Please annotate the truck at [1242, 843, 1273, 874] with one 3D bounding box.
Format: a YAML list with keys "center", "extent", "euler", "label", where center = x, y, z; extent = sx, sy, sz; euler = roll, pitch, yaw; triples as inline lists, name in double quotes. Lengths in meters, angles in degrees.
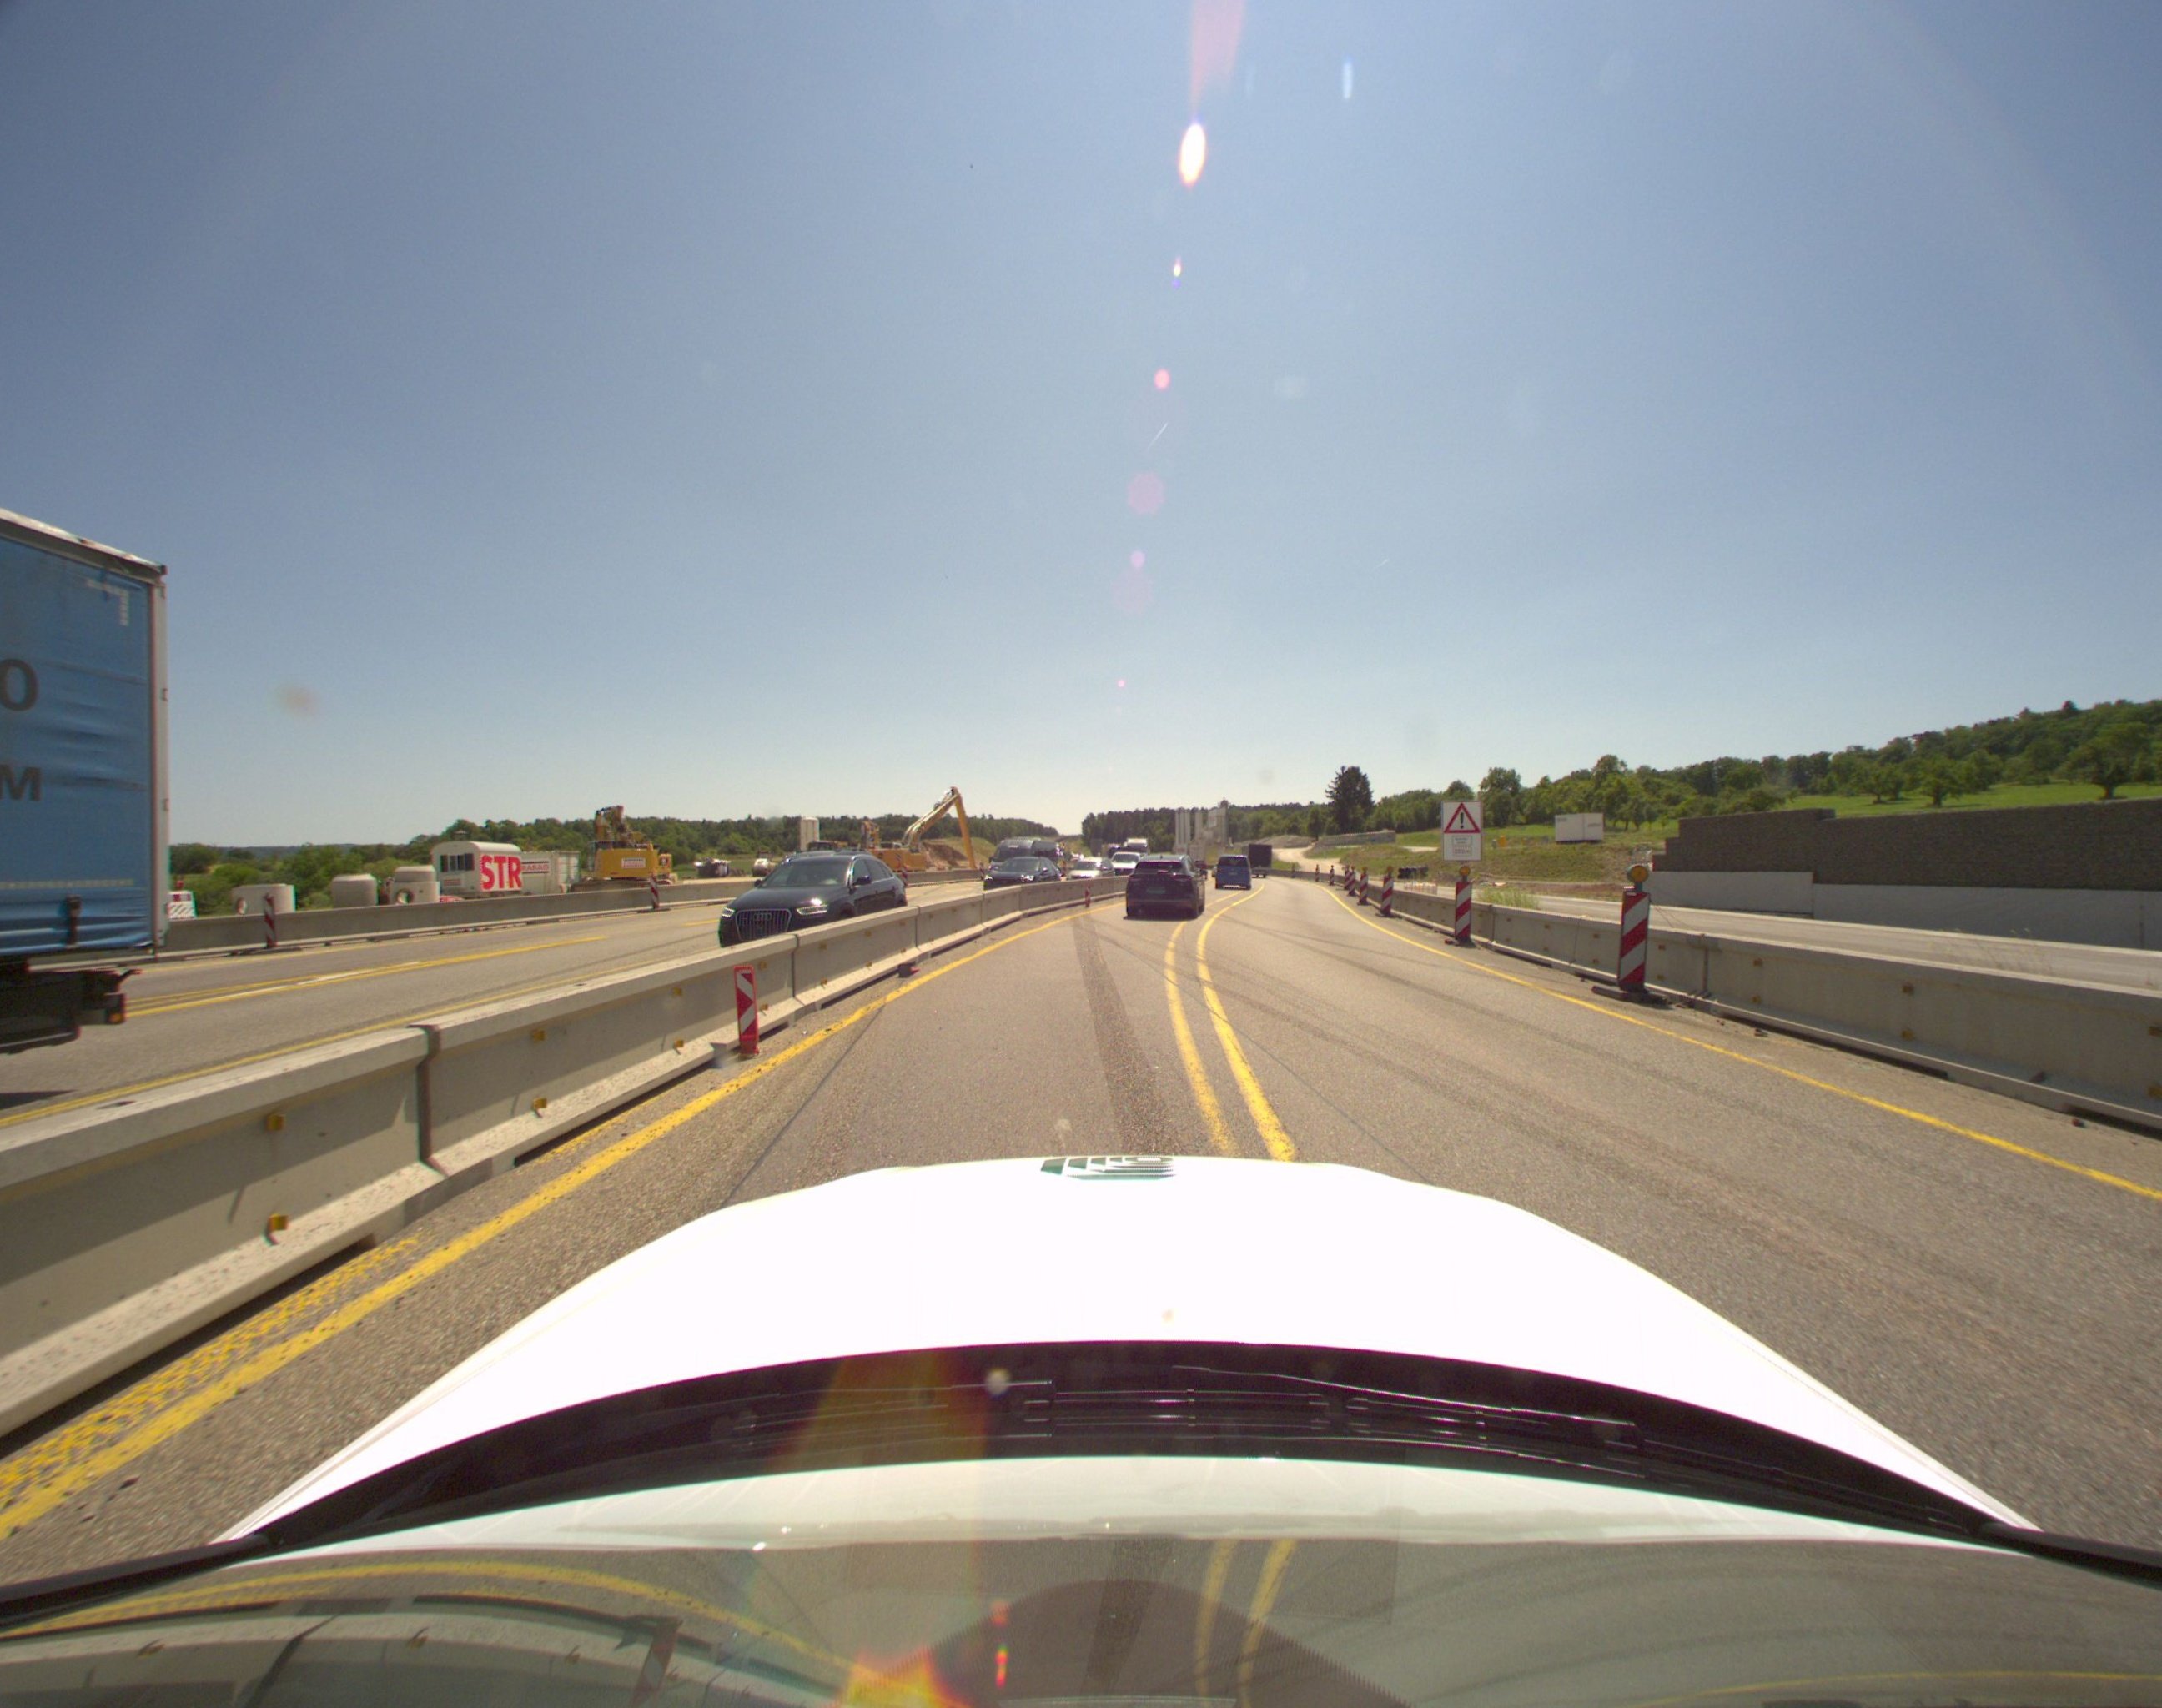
- center: [17.745, 0.393, 82.094]
  extent: [2.657, 2.945, 5.634]
  euler: [-1, 0, 9]
  label: "truck"

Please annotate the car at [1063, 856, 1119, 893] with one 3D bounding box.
- center: [0.544, 0.935, 38.780]
  extent: [1.744, 1.616, 4.244]
  euler: [1, 0, 14]
  label: "car"

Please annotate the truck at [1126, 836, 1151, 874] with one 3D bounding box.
- center: [6.679, 0.119, 94.854]
  extent: [2.759, 4.260, 6.204]
  euler: [0, 0, 3]
  label: "truck"

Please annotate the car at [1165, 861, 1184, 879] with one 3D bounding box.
- center: [8.445, 1.415, 73.398]
  extent: [1.647, 1.453, 4.257]
  euler: [1, 0, 7]
  label: "car"

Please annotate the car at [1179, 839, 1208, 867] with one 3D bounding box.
- center: [17.647, -0.146, 128.249]
  extent: [3.423, 4.101, 9.202]
  euler: [3, 0, 2]
  label: "car"

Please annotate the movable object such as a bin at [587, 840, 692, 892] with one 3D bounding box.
- center: [-29.536, 0.748, 54.787]
  extent: [3.780, 3.256, 5.558]
  euler: [2, 0, 1]
  label: "movable object such as a bin"

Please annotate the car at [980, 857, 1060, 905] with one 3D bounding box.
- center: [-2.001, 0.871, 28.221]
  extent: [1.679, 1.481, 4.482]
  euler: [-2, 0, 10]
  label: "car"

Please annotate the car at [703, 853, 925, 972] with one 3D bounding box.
- center: [-4.197, 0.821, 13.748]
  extent: [1.759, 1.607, 4.717]
  euler: [-2, 0, 5]
  label: "car"

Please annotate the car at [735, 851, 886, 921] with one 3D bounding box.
- center: [-7.540, 0.829, 23.289]
  extent: [1.762, 1.765, 4.728]
  euler: [-2, 0, 14]
  label: "car"

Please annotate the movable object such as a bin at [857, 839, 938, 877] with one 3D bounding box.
- center: [-12.806, 0.284, 57.178]
  extent: [3.267, 2.440, 5.461]
  euler: [2, 0, 15]
  label: "movable object such as a bin"

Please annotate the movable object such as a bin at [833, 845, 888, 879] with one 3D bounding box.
- center: [-21.474, 0.772, 79.538]
  extent: [3.649, 3.025, 4.997]
  euler: [-2, 1, 3]
  label: "movable object such as a bin"

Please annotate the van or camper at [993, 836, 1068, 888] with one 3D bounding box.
- center: [-2.564, 0.398, 43.304]
  extent: [2.083, 2.541, 6.329]
  euler: [-2, -1, 14]
  label: "van or camper"

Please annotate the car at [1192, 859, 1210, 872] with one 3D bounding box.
- center: [15.178, 1.463, 103.387]
  extent: [1.814, 1.644, 3.867]
  euler: [1, 0, 2]
  label: "car"

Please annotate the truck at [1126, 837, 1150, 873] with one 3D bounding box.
- center: [7.006, 0.119, 100.577]
  extent: [2.762, 4.277, 11.790]
  euler: [0, 0, 3]
  label: "truck"

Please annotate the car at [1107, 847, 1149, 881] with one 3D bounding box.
- center: [2.850, 0.588, 48.785]
  extent: [1.861, 1.873, 5.073]
  euler: [0, -1, 11]
  label: "car"

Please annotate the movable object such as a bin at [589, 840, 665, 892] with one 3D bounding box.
- center: [-25.700, 0.654, 46.095]
  extent: [3.321, 2.727, 2.897]
  euler: [2, 0, 45]
  label: "movable object such as a bin"

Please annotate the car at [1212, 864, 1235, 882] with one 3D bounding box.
- center: [13.641, 1.805, 78.143]
  extent: [2.033, 1.526, 5.078]
  euler: [-2, -1, 9]
  label: "car"

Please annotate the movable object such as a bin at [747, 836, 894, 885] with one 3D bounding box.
- center: [-14.902, 0.324, 46.473]
  extent: [7.828, 2.432, 3.742]
  euler: [2, 0, 32]
  label: "movable object such as a bin"

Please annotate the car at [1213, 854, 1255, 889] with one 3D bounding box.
- center: [8.589, 0.917, 45.518]
  extent: [1.979, 1.844, 4.016]
  euler: [0, 0, 15]
  label: "car"

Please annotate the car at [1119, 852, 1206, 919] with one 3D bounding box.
- center: [2.277, 0.782, 21.830]
  extent: [1.830, 1.582, 4.013]
  euler: [1, 0, 12]
  label: "car"

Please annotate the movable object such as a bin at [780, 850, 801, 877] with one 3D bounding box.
- center: [-35.343, 1.135, 99.139]
  extent: [1.997, 3.126, 3.737]
  euler: [3, 0, -15]
  label: "movable object such as a bin"

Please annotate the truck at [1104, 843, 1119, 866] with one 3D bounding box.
- center: [5.802, 0.087, 155.687]
  extent: [2.762, 4.137, 10.874]
  euler: [0, 0, 2]
  label: "truck"

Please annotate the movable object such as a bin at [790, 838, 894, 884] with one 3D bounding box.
- center: [-15.670, 0.400, 53.470]
  extent: [5.997, 2.763, 2.827]
  euler: [2, 0, 22]
  label: "movable object such as a bin"

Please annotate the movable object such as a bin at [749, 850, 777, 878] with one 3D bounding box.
- center: [-38.296, 1.142, 98.104]
  extent: [2.426, 3.126, 5.453]
  euler: [3, 0, -15]
  label: "movable object such as a bin"
